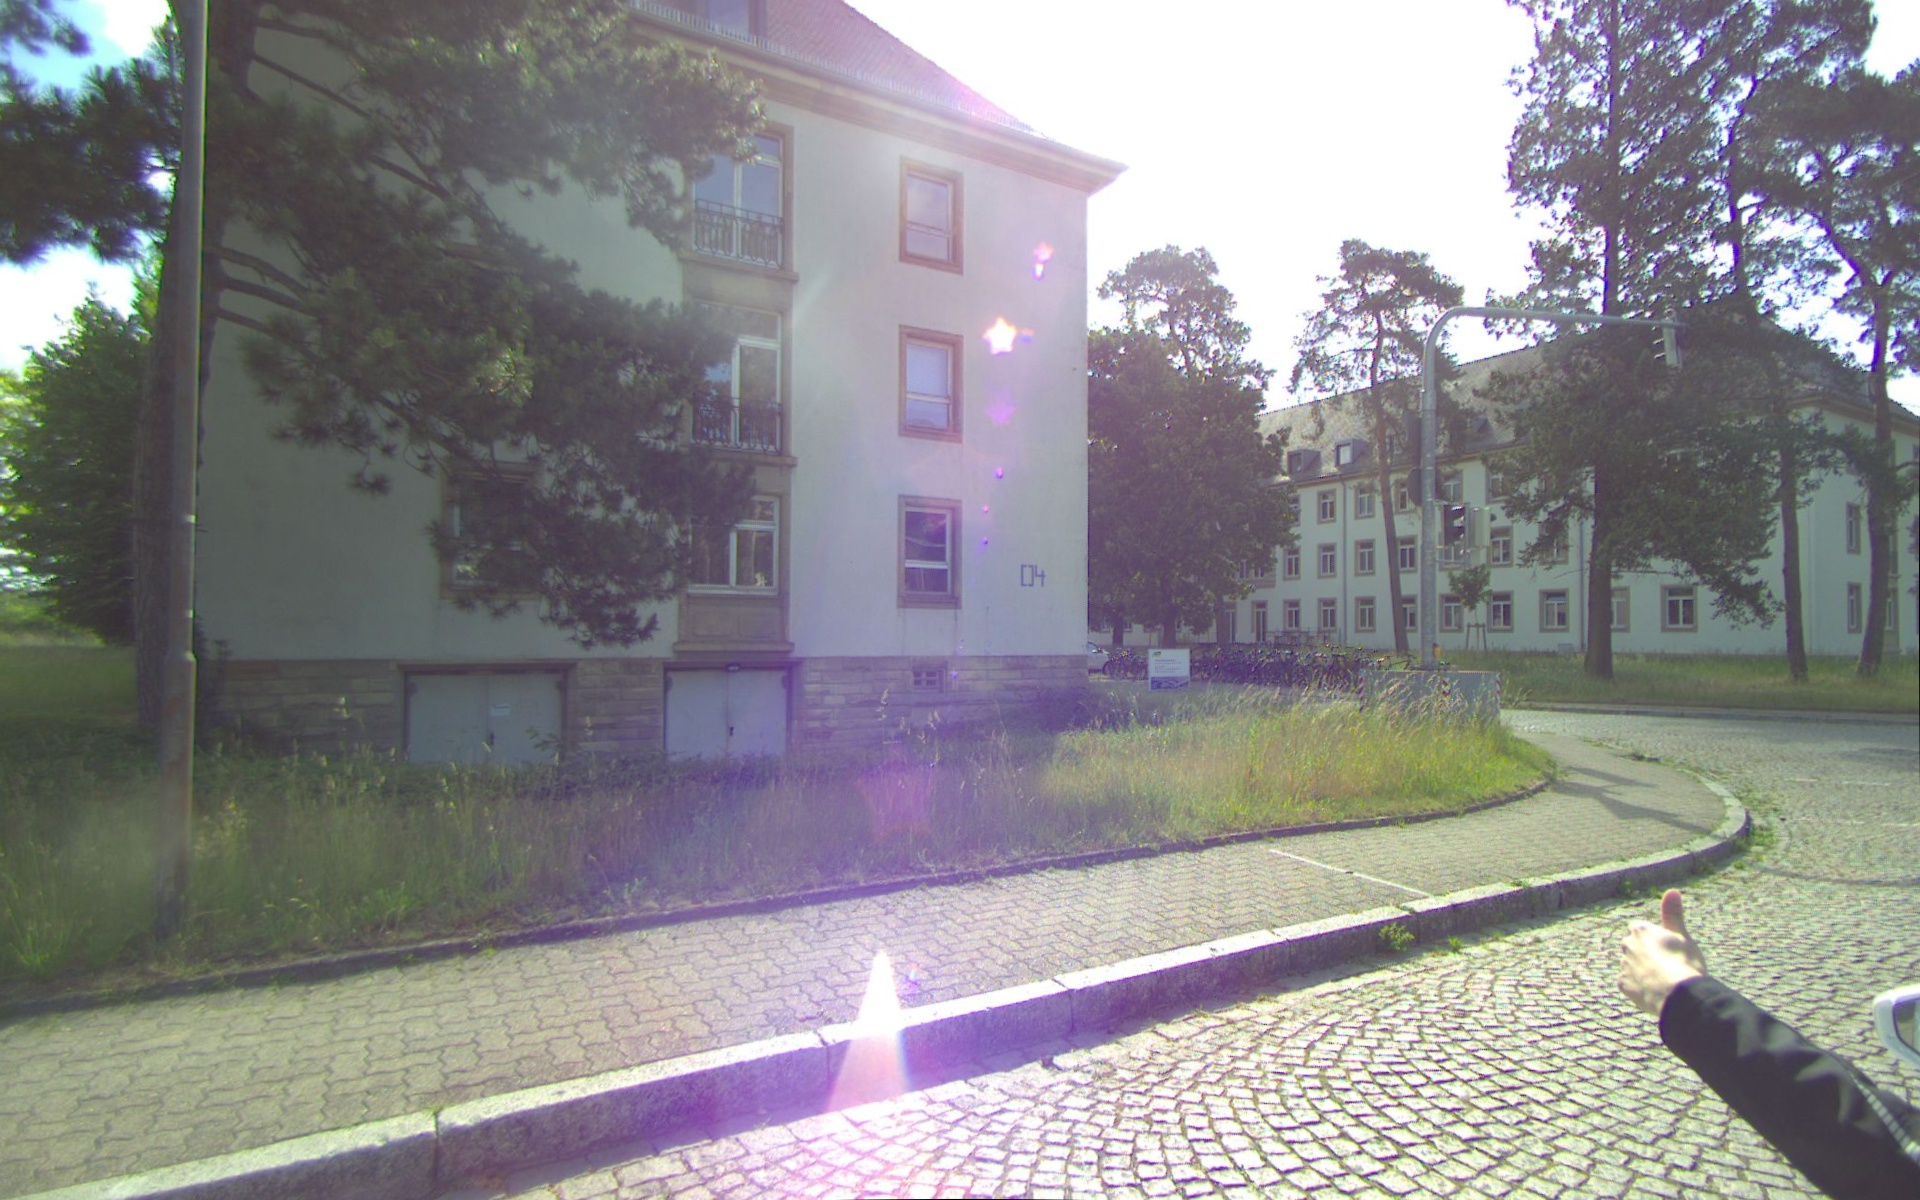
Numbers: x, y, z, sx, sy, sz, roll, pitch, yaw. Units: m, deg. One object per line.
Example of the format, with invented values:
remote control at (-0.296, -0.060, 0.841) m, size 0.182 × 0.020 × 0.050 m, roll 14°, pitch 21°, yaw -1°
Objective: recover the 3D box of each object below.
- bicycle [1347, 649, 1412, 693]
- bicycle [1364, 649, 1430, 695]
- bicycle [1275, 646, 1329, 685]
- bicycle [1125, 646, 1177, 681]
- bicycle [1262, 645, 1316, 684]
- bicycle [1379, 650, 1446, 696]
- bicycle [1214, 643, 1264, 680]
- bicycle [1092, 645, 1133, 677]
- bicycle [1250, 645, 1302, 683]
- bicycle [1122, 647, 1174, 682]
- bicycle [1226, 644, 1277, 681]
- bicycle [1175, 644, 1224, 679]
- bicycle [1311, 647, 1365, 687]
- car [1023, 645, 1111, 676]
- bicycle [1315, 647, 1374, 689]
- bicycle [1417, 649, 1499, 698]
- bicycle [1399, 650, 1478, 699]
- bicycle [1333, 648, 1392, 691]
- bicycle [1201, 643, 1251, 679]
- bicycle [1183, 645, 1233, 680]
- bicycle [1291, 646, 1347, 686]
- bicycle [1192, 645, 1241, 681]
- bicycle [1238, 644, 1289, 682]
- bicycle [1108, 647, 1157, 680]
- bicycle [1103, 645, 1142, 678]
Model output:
bicycle at (12.151, 2.037, 29.096) m, size 2.080 × 1.236 × 0.630 m, roll 1°, pitch -2°, yaw -31°
bicycle at (12.447, 2.030, 28.570) m, size 2.100 × 1.236 × 0.630 m, roll 1°, pitch -2°, yaw -31°
bicycle at (11.002, 2.088, 32.297) m, size 1.954 × 1.236 × 0.511 m, roll 1°, pitch -2°, yaw -31°
bicycle at (7.023, 2.324, 36.916) m, size 1.794 × 1.236 × 0.515 m, roll -1°, pitch -2°, yaw 24°
bicycle at (10.738, 2.089, 32.742) m, size 1.954 × 1.236 × 0.511 m, roll 1°, pitch -2°, yaw -31°
bicycle at (12.696, 2.024, 28.157) m, size 2.090 × 1.236 × 0.630 m, roll 1°, pitch -2°, yaw -31°
bicycle at (9.644, 2.111, 34.670) m, size 1.915 × 1.236 × 0.511 m, roll 1°, pitch -2°, yaw -31°
bicycle at (6.067, 2.404, 39.922) m, size 1.813 × 1.236 × 0.510 m, roll 2°, pitch -3°, yaw -39°
bicycle at (10.447, 2.092, 33.179) m, size 1.932 × 1.236 × 0.511 m, roll 1°, pitch -2°, yaw -31°
bicycle at (6.793, 2.315, 36.310) m, size 1.794 × 1.236 × 0.515 m, roll -1°, pitch -2°, yaw 24°
bicycle at (9.925, 2.104, 34.148) m, size 1.915 × 1.236 × 0.511 m, roll 1°, pitch -2°, yaw -31°
bicycle at (8.666, 2.225, 36.353) m, size 1.915 × 1.236 × 0.511 m, roll 1°, pitch -2°, yaw -31°
bicycle at (11.854, 2.082, 31.460) m, size 1.878 × 1.236 × 0.545 m, roll 1°, pitch -2°, yaw -31°
car at (4.547, 2.543, 42.567) m, size 3.550 × 1.227 × 1.504 m, roll 1°, pitch -3°, yaw -29°
bicycle at (11.784, 2.068, 30.747) m, size 2.006 × 1.236 × 0.576 m, roll 1°, pitch -2°, yaw -31°
bicycle at (13.339, 1.942, 26.958) m, size 0.627 × 1.236 × 1.935 m, roll 1°, pitch -2°, yaw -30°
bicycle at (12.685, 1.949, 26.679) m, size 0.627 × 1.236 × 1.853 m, roll 1°, pitch -2°, yaw -30°
bicycle at (12.048, 2.055, 30.034) m, size 1.967 × 1.236 × 0.569 m, roll 1°, pitch -2°, yaw -31°
bicycle at (9.329, 2.118, 35.191) m, size 1.915 × 1.236 × 0.511 m, roll 1°, pitch -2°, yaw -31°
bicycle at (8.884, 2.220, 35.962) m, size 1.915 × 1.236 × 0.511 m, roll 1°, pitch -2°, yaw -31°
bicycle at (11.365, 2.082, 31.762) m, size 1.993 × 1.236 × 0.511 m, roll 1°, pitch -2°, yaw -31°
bicycle at (9.099, 2.215, 35.591) m, size 1.915 × 1.236 × 0.511 m, roll 1°, pitch -2°, yaw -31°
bicycle at (10.179, 2.098, 33.664) m, size 1.915 × 1.236 × 0.511 m, roll 1°, pitch -2°, yaw -31°
bicycle at (6.513, 2.378, 37.906) m, size 1.792 × 1.236 × 0.516 m, roll 0°, pitch -2°, yaw 6°
bicycle at (6.384, 2.398, 39.407) m, size 1.815 × 1.236 × 0.509 m, roll 2°, pitch -3°, yaw -42°
